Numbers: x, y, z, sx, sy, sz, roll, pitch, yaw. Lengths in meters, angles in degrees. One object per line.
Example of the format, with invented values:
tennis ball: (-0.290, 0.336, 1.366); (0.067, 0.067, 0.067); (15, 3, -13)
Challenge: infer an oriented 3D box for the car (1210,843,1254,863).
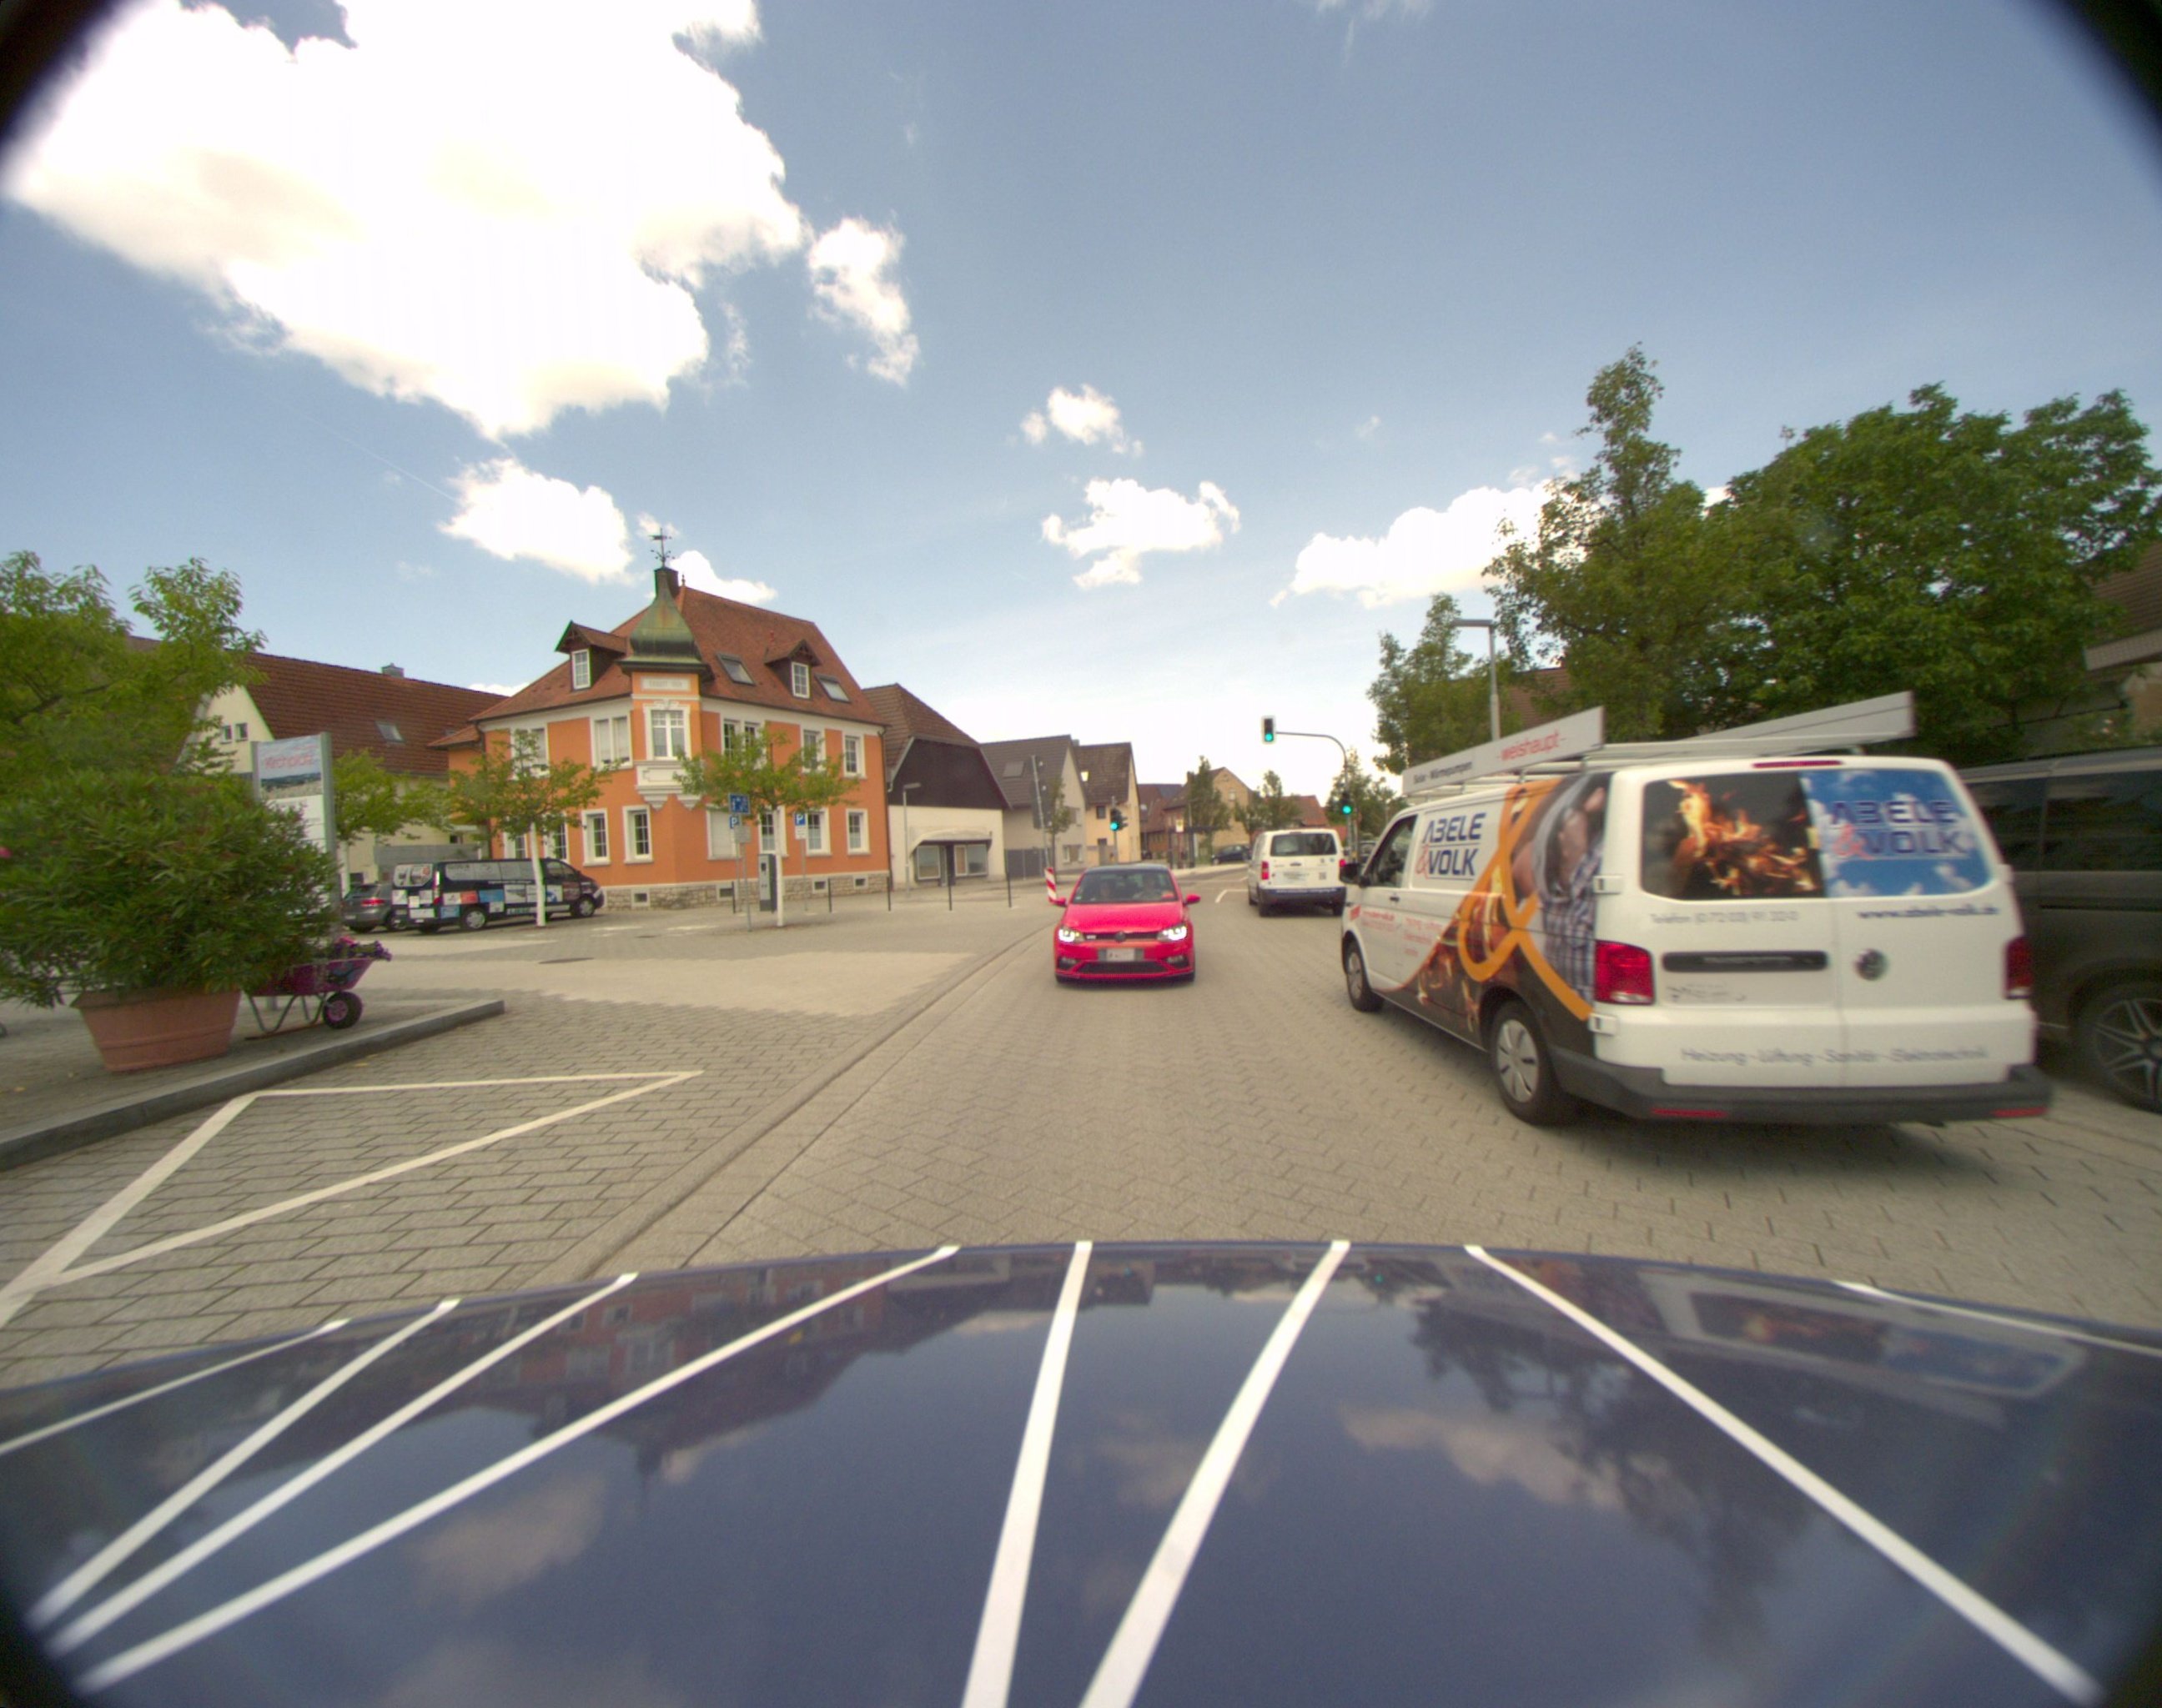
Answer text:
car: (12.995, -0.076, 65.496); (3.543, 1.583, 1.668); (-3, 0, 16)

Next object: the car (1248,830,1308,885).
car: (7.924, 0.125, 30.925); (1.997, 2.002, 4.743); (-2, 0, 11)

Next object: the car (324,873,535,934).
car: (-19.855, 1.457, 23.476); (1.621, 1.475, 4.728); (-3, 0, 17)

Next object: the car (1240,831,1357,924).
car: (5.082, 0.475, 18.444); (1.997, 1.869, 4.869); (-3, 0, 8)

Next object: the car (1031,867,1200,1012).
car: (0.418, 0.961, 10.176); (1.782, 1.403, 3.887); (-2, 1, 1)

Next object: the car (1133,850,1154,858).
car: (9.215, 0.040, 112.089); (1.805, 1.053, 3.994); (-3, 0, -17)

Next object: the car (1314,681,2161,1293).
car: (3.280, 0.478, 5.272); (1.892, 2.173, 5.030); (-2, 0, 2)

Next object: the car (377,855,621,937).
car: (-16.872, 1.115, 22.509); (1.996, 2.002, 5.501); (-3, 0, 17)

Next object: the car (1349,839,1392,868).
car: (16.538, -0.047, 43.272); (1.734, 1.482, 4.507); (-2, 1, 27)

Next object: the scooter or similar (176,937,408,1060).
scooter or similar: (-6.750, 1.219, 6.552); (1.144, 0.876, 0.816); (-2, 1, 5)

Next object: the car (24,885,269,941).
car: (-35.364, 2.172, 29.070); (1.996, 1.563, 5.501); (-3, 0, 17)

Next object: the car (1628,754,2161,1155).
car: (6.389, 0.444, 5.095); (1.991, 1.979, 5.045); (-3, 0, 4)

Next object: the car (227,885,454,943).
car: (-24.852, 1.956, 25.839); (1.996, 1.433, 5.131); (-3, 0, 17)
